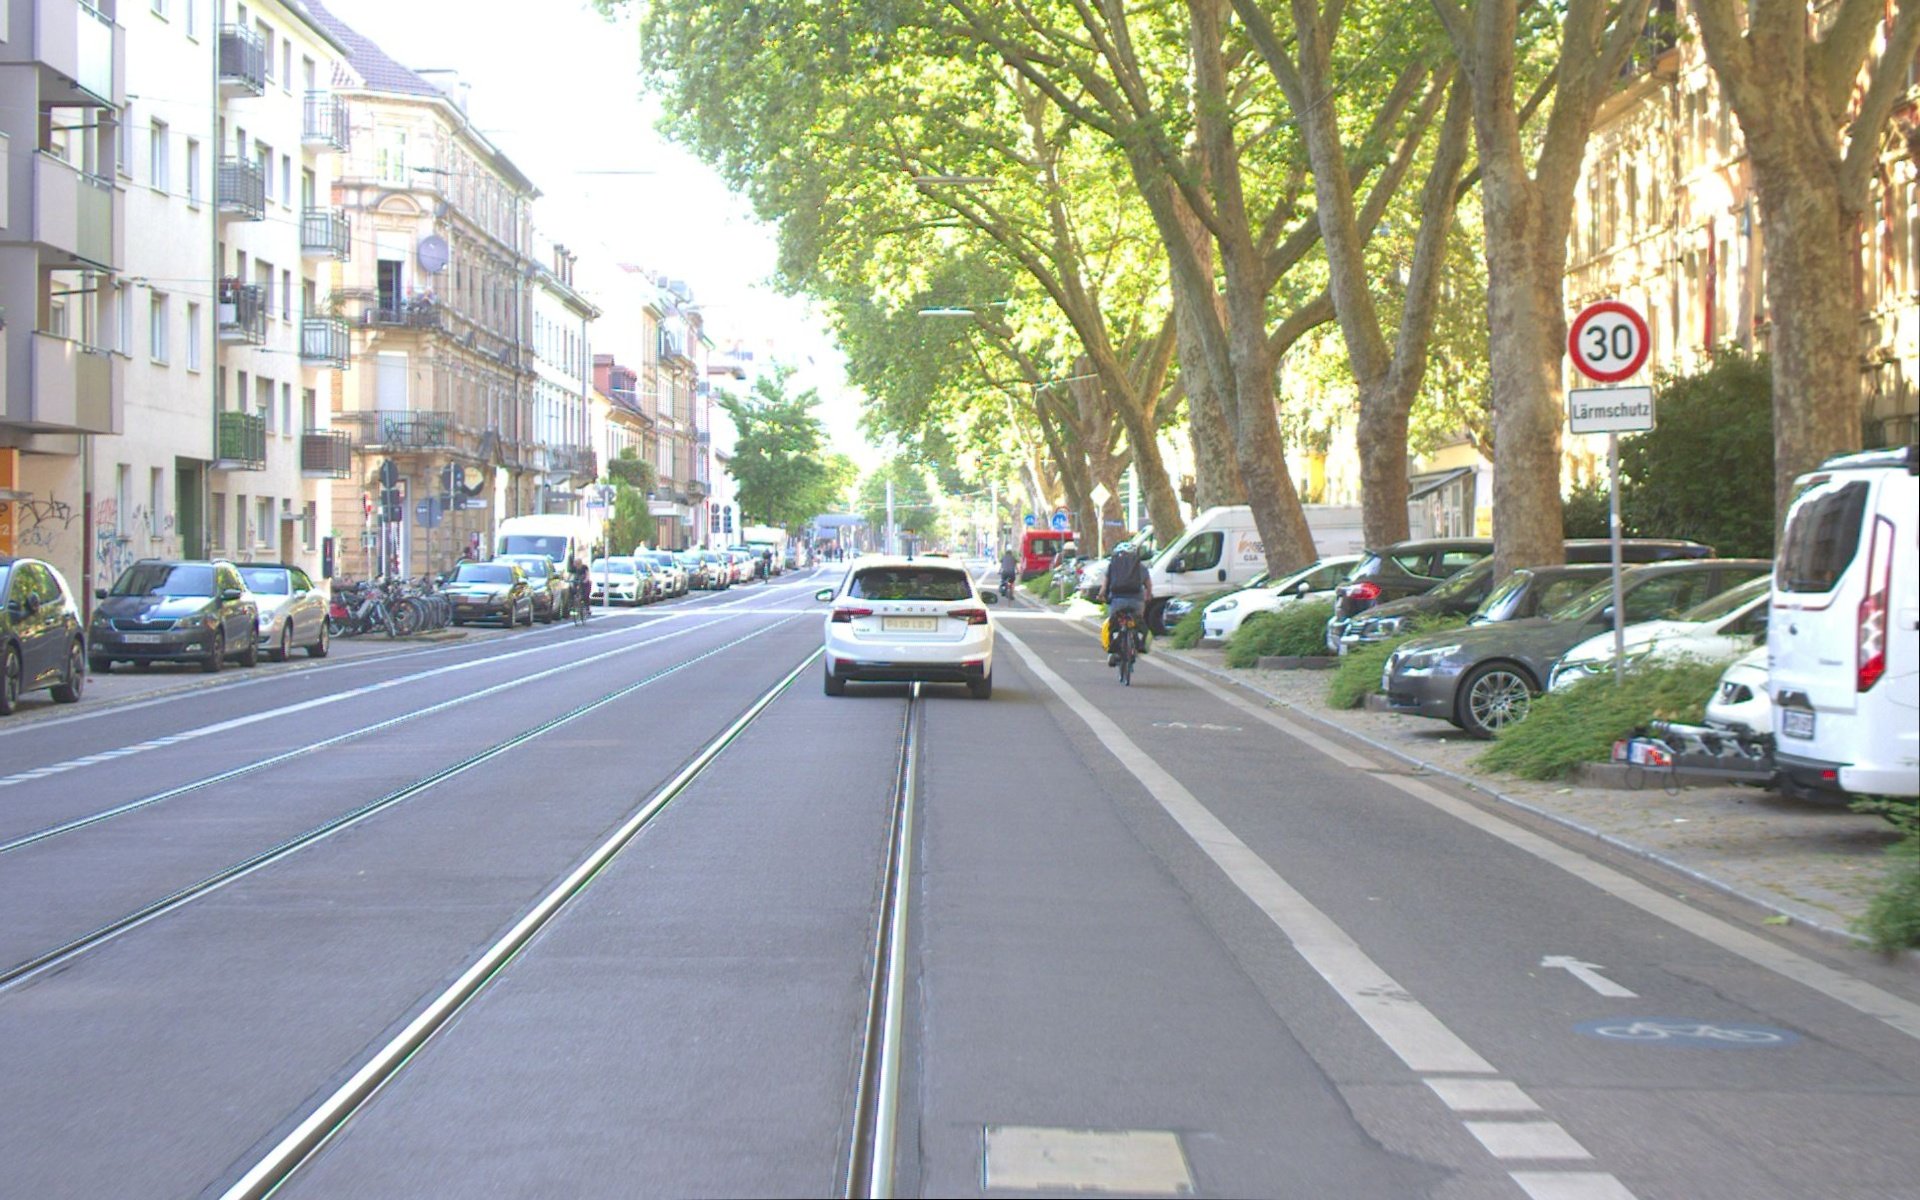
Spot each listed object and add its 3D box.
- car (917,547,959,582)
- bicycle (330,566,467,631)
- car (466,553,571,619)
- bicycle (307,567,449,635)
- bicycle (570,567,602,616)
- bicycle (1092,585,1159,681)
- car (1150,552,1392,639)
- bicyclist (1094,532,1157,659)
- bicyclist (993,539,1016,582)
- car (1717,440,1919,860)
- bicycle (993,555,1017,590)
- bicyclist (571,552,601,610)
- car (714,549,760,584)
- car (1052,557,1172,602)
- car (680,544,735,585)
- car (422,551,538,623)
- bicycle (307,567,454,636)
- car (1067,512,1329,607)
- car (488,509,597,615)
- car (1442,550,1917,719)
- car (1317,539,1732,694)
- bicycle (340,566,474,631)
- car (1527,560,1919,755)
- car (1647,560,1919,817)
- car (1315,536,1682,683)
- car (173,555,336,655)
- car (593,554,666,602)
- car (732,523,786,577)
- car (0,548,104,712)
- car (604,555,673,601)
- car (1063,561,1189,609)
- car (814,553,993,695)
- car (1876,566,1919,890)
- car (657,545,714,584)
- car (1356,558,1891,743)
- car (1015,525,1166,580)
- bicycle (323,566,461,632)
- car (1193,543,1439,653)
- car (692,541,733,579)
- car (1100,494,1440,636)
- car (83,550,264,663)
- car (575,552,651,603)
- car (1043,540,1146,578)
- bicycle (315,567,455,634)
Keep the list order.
[{"bbox_3d":[-0.936,-1.533,147.786,1.761,1.470,4.000,0,1,0],"label":"car"},{"bbox_3d":[-10.843,-0.020,66.449,2.524,1.168,0.719,2,-1,-5],"label":"bicycle"},{"bbox_3d":[-10.325,-0.348,80.654,1.993,1.525,4.000,0,1,0],"label":"car"},{"bbox_3d":[-10.771,0.022,63.725,2.524,1.168,0.719,2,-1,-6],"label":"bicycle"},{"bbox_3d":[-8.338,-0.192,76.664,0.605,1.067,1.583,0,1,-3],"label":"bicycle"},{"bbox_3d":[1.911,0.372,39.870,0.681,1.067,1.781,0,1,0],"label":"bicycle"},{"bbox_3d":[5.602,-0.096,62.204,4.048,1.535,2.000,0,1,-6],"label":"car"},{"bbox_3d":[1.908,-0.061,39.715,0.678,1.438,1.047,0,1,0],"label":"bicyclist"},{"bbox_3d":[1.381,-1.222,106.581,0.649,1.339,0.934,0,1,-2],"label":"bicyclist"},{"bbox_3d":[6.487,0.229,18.043,4.543,2.069,2.001,0,1,-3],"label":"car"},{"bbox_3d":[1.388,-0.858,106.572,0.649,1.067,1.583,0,1,-2],"label":"bicycle"},{"bbox_3d":[-8.344,-0.417,76.722,0.597,1.282,0.917,0,1,-3],"label":"bicyclist"},{"bbox_3d":[-10.926,-1.632,168.751,1.993,1.634,4.000,1,0,0],"label":"car"},{"bbox_3d":[5.283,-0.720,119.676,4.049,1.535,2.000,0,1,-1],"label":"car"},{"bbox_3d":[-10.462,-1.468,142.922,1.993,1.634,4.000,1,0,0],"label":"car"},{"bbox_3d":[-10.423,-0.309,74.873,1.993,1.525,4.000,0,1,0],"label":"car"},{"bbox_3d":[-10.617,0.039,63.016,2.525,1.168,0.883,3,-1,-40],"label":"bicycle"},{"bbox_3d":[5.747,-0.985,83.649,6.130,2.274,2.529,0,1,-2],"label":"car"},{"bbox_3d":[-10.484,-0.962,86.591,2.178,2.588,4.949,0,1,0],"label":"car"},{"bbox_3d":[6.579,0.299,31.700,3.986,1.509,1.761,0,1,-1],"label":"car"},{"bbox_3d":[6.163,0.161,37.866,4.234,1.661,1.848,0,1,-1],"label":"car"},{"bbox_3d":[-10.848,-0.027,67.503,2.524,1.168,0.719,2,-1,-6],"label":"bicycle"},{"bbox_3d":[6.637,0.425,27.007,4.036,1.474,1.923,0,1,0],"label":"car"},{"bbox_3d":[6.294,0.500,20.760,3.897,1.474,1.724,0,1,-3],"label":"car"},{"bbox_3d":[6.250,0.096,40.172,3.986,1.674,1.723,0,1,-1],"label":"car"},{"bbox_3d":[-10.343,0.045,50.657,1.485,1.398,3.990,0,1,2],"label":"car"},{"bbox_3d":[-10.669,-0.737,111.153,1.993,1.525,4.000,0,1,0],"label":"car"},{"bbox_3d":[-12.228,-3.017,209.473,2.968,3.145,5.847,1,0,0],"label":"car"},{"bbox_3d":[-10.118,0.249,35.051,1.702,1.539,4.242,3,1,-1],"label":"car"},{"bbox_3d":[-10.834,-0.770,116.079,1.993,1.525,4.000,0,1,0],"label":"car"},{"bbox_3d":[5.449,-0.502,113.129,4.049,1.535,2.000,0,1,-1],"label":"car"},{"bbox_3d":[-0.569,0.211,35.980,1.761,1.379,4.000,0,1,0],"label":"car"},{"bbox_3d":[6.527,0.587,15.469,4.297,1.474,1.831,0,1,-1],"label":"car"},{"bbox_3d":[-10.865,-1.407,136.231,1.993,1.525,4.000,0,1,0],"label":"car"},{"bbox_3d":[5.575,0.402,29.257,4.142,1.509,1.931,0,1,-1],"label":"car"},{"bbox_3d":[5.429,-1.994,143.870,6.130,2.274,2.529,0,1,-2],"label":"car"},{"bbox_3d":[-10.830,-0.007,65.599,2.524,1.168,0.719,2,-1,-5],"label":"bicycle"},{"bbox_3d":[5.429,-0.047,52.782,3.634,1.661,1.822,0,1,2],"label":"car"},{"bbox_3d":[-13.533,-2.195,188.023,1.993,2.007,4.000,0,1,0],"label":"car"},{"bbox_3d":[5.813,-0.670,65.031,6.130,2.626,2.529,0,1,-2],"label":"car"},{"bbox_3d":[-10.394,0.055,45.647,1.653,1.432,3.837,0,1,-2],"label":"car"},{"bbox_3d":[-10.766,-0.714,106.925,1.993,1.525,4.000,0,1,0],"label":"car"},{"bbox_3d":[5.424,-1.659,139.181,4.049,1.535,2.000,0,1,-1],"label":"car"},{"bbox_3d":[-10.796,0.010,64.611,2.524,1.168,0.719,2,-1,-5],"label":"bicycle"}]
